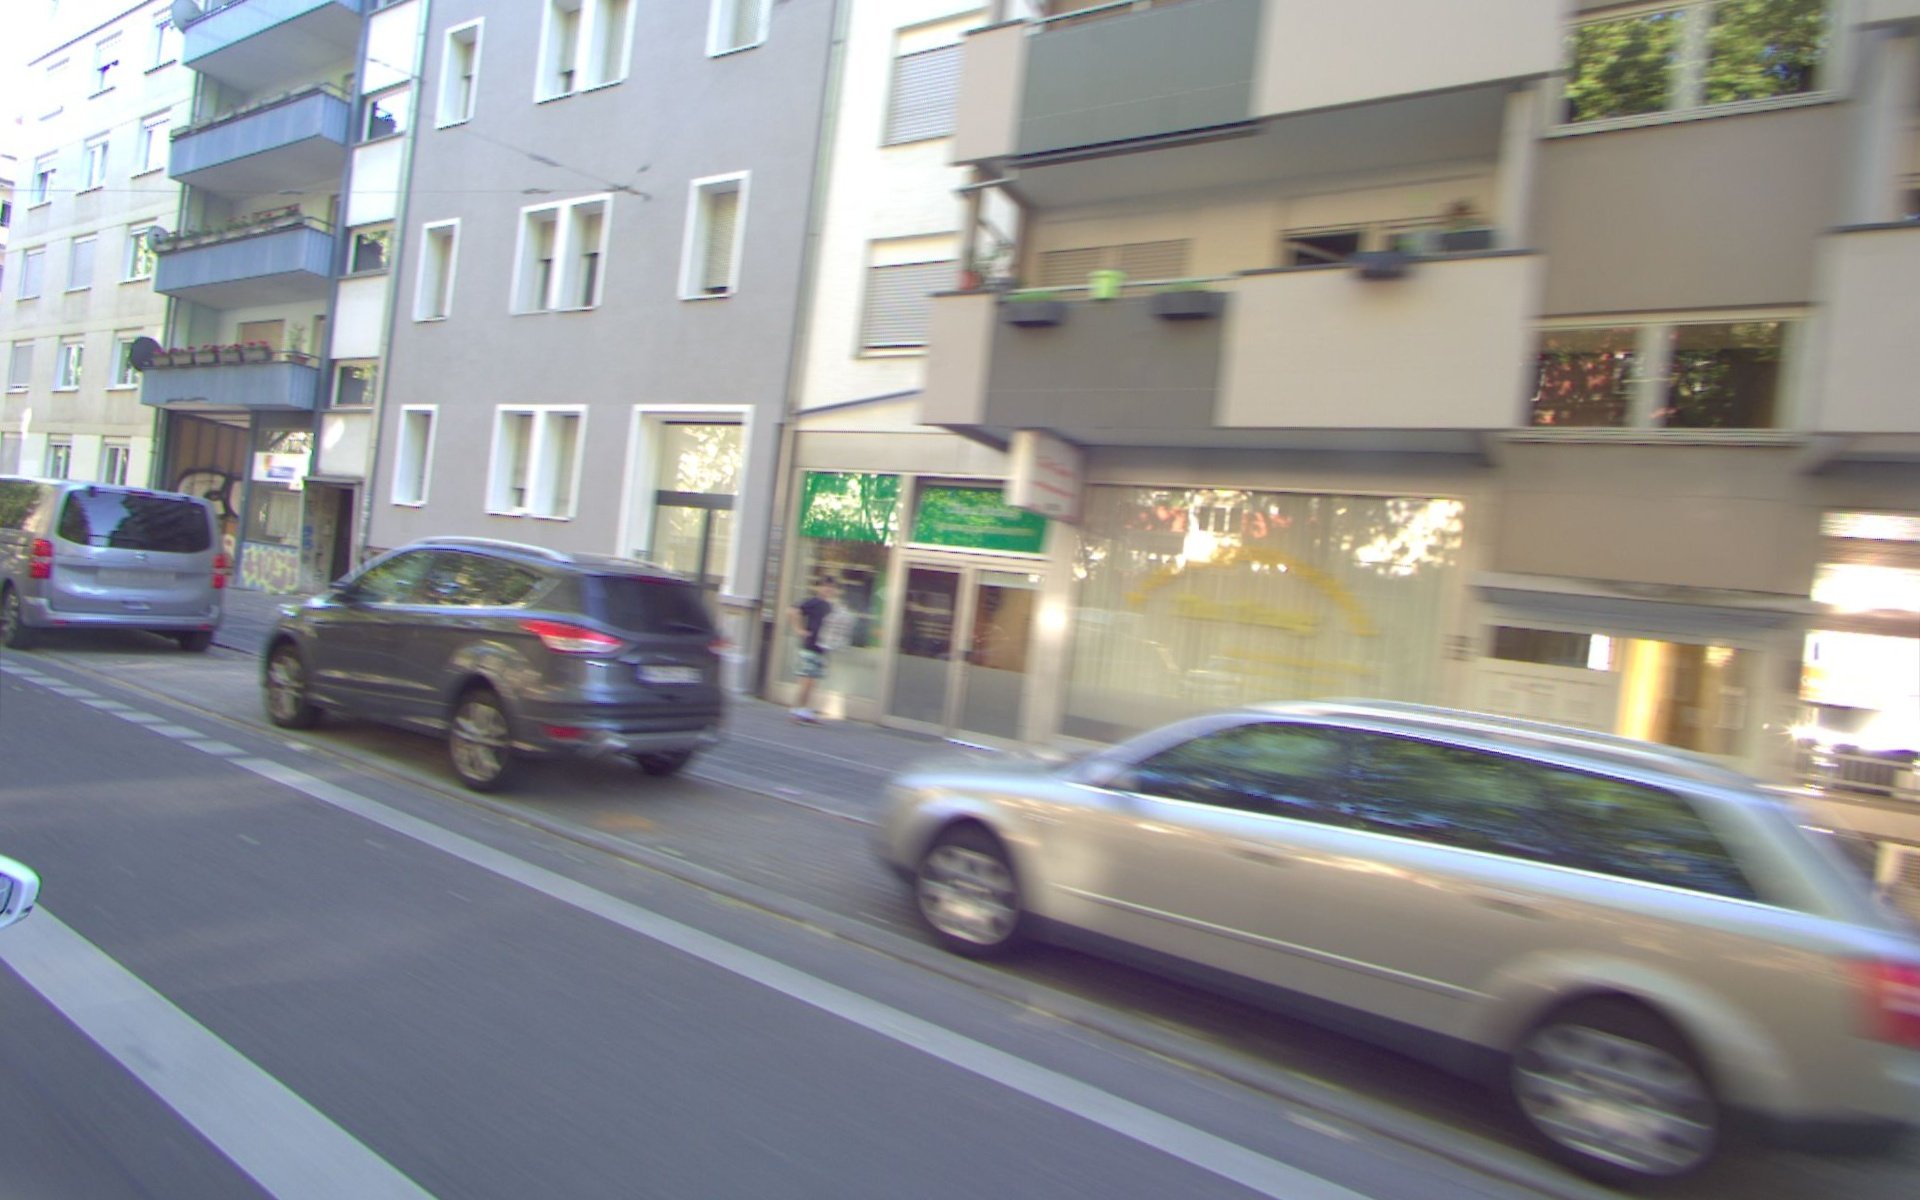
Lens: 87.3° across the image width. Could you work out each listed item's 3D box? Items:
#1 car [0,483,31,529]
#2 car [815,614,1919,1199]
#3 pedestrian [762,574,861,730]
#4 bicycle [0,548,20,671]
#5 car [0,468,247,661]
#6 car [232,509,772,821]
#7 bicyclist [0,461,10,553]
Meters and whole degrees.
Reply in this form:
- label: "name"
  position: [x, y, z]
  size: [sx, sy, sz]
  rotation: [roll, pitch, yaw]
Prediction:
- label: "car"
  position: [-43.004, -4.337, 42.977]
  size: [1.965, 1.853, 4.368]
  rotation: [7, -1, 28]
- label: "car"
  position: [1.631, 1.125, 4.728]
  size: [4.440, 1.544, 1.726]
  rotation: [7, 0, 34]
- label: "pedestrian"
  position: [-1.778, 0.611, 12.000]
  size: [0.751, 1.741, 0.713]
  rotation: [7, 1, -35]
- label: "bicycle"
  position: [-9.665, -0.025, 9.390]
  size: [1.957, 1.104, 0.702]
  rotation: [6, -2, 32]
- label: "car"
  position: [-11.090, -0.541, 12.536]
  size: [4.845, 1.913, 1.860]
  rotation: [7, 0, 34]
- label: "car"
  position: [-3.785, 0.377, 8.115]
  size: [4.211, 1.725, 1.769]
  rotation: [7, 0, 31]
- label: "bicyclist"
  position: [-9.641, -0.486, 9.389]
  size: [0.899, 1.780, 0.787]
  rotation: [7, 0, 31]
